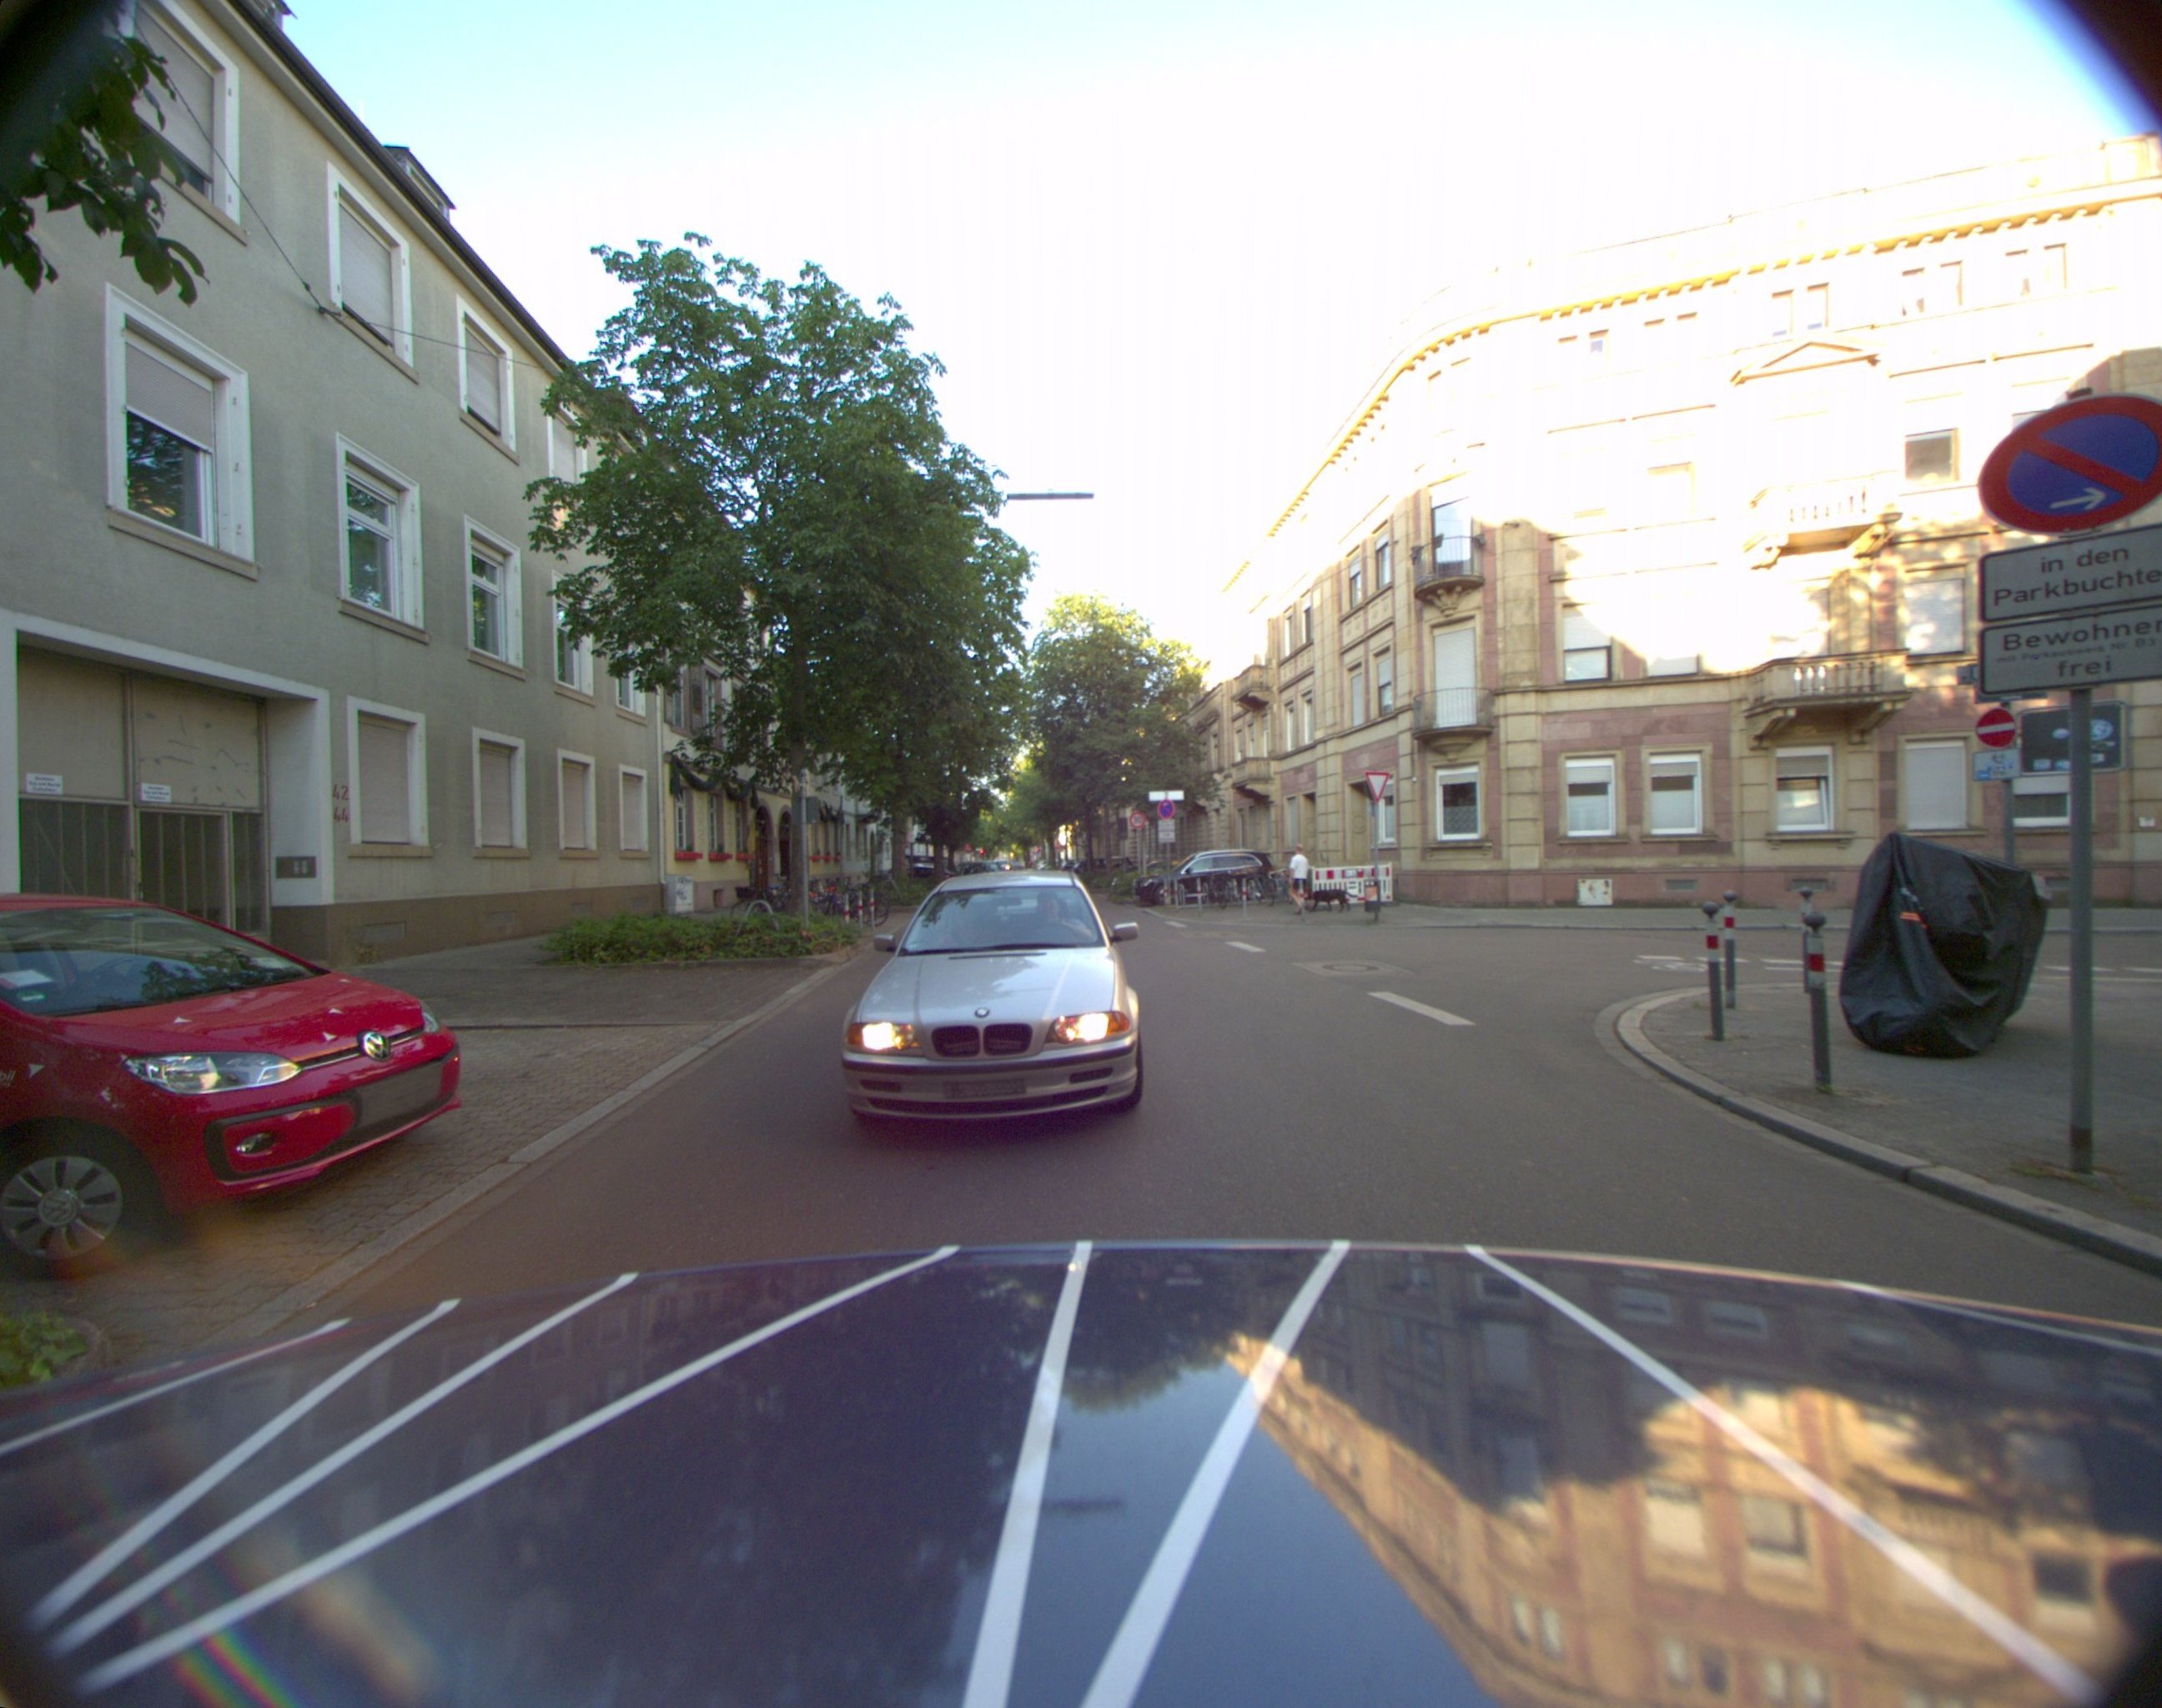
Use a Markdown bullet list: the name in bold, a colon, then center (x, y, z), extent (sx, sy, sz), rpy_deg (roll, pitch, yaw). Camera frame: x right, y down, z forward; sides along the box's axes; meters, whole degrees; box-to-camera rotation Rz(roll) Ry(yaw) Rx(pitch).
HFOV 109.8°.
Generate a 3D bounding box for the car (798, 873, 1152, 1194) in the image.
- **car**: center (-0.490, 0.941, 5.954), extent (1.711, 1.433, 4.436), rpy_deg (-1, 0, 1)

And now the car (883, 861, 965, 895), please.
- **car**: center (-8.557, 1.278, 41.674), extent (4.245, 1.729, 1.741), rpy_deg (-1, 0, -6)

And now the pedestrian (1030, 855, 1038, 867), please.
- **pedestrian**: center (-8.326, 1.239, 133.591), extent (1.254, 2.002, 1.123), rpy_deg (-1, 1, -9)

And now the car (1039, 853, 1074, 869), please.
- **car**: center (-2.992, 0.848, 92.540), extent (4.245, 1.749, 1.741), rpy_deg (-1, 0, -4)

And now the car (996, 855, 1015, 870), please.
- **car**: center (-8.174, 0.919, 82.225), extent (1.806, 1.543, 3.999), rpy_deg (-1, 0, -3)

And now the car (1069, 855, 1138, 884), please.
- **car**: center (1.408, 0.963, 48.383), extent (4.245, 1.749, 1.741), rpy_deg (-1, 0, -4)

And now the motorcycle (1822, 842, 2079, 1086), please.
- **motorcycle**: center (6.492, 0.679, 5.640), extent (2.286, 1.496, 0.816), rpy_deg (-1, 1, -30)

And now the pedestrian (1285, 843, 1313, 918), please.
- **pedestrian**: center (5.376, 0.645, 18.734), extent (0.572, 1.797, 0.652), rpy_deg (-1, 1, 10)

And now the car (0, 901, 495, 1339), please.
- **car**: center (-5.170, 1.042, 3.426), extent (3.621, 1.468, 1.663), rpy_deg (-1, 0, -7)

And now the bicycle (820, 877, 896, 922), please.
- **bicycle**: center (-6.372, 1.287, 21.793), extent (2.029, 1.220, 0.535), rpy_deg (-1, 0, -11)

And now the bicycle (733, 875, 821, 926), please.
- **bicycle**: center (-7.818, 1.182, 19.601), extent (2.029, 1.220, 0.535), rpy_deg (-1, 0, -13)

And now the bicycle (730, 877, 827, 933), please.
- **bicycle**: center (-7.038, 1.172, 17.752), extent (2.030, 1.220, 0.535), rpy_deg (-1, 0, -16)

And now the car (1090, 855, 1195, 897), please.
- **car**: center (2.527, 0.910, 32.090), extent (4.243, 1.668, 1.742), rpy_deg (-1, 0, -1)

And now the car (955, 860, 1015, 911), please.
- **car**: center (-3.235, 1.023, 26.257), extent (1.806, 1.543, 3.998), rpy_deg (-1, 0, -4)

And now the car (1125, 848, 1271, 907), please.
- **car**: center (3.721, 0.721, 24.656), extent (4.423, 1.771, 1.742), rpy_deg (-1, 0, -2)

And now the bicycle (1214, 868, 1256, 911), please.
- **bicycle**: center (4.379, 0.984, 21.731), extent (0.562, 1.144, 2.038), rpy_deg (-1, 0, -6)

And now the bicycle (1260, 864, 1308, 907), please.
- **bicycle**: center (5.791, 0.882, 21.822), extent (0.562, 1.144, 2.038), rpy_deg (-1, 0, -8)

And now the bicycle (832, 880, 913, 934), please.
- **bicycle**: center (-5.041, 1.257, 18.402), extent (1.849, 1.220, 0.535), rpy_deg (-1, 0, -16)

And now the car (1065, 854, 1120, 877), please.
- **car**: center (0.863, 0.874, 60.854), extent (4.245, 1.749, 1.741), rpy_deg (-1, 0, -4)

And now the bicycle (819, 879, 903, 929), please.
- **bicycle**: center (-5.664, 1.283, 19.642), extent (2.029, 1.220, 0.535), rpy_deg (-1, 0, -11)

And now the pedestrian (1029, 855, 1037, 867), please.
- **pedestrian**: center (-8.296, 1.269, 130.597), extent (1.185, 2.002, 1.020), rpy_deg (-1, 1, -9)

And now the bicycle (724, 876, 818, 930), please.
- **bicycle**: center (-7.498, 1.182, 18.455), extent (2.030, 1.220, 0.535), rpy_deg (-1, 0, -16)

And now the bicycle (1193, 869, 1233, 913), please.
- **bicycle**: center (3.740, 1.028, 21.663), extent (0.562, 1.144, 2.038), rpy_deg (-1, 0, -6)

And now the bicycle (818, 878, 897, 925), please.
- **bicycle**: center (-6.131, 1.287, 20.923), extent (2.029, 1.220, 0.535), rpy_deg (-1, 0, -11)

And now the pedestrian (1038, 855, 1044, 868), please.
- **pedestrian**: center (-5.764, 1.048, 109.040), extent (0.712, 1.843, 0.676), rpy_deg (-1, 1, -13)

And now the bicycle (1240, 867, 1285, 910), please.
- **bicycle**: center (5.172, 0.962, 21.773), extent (0.562, 1.144, 2.038), rpy_deg (-1, 0, -8)
